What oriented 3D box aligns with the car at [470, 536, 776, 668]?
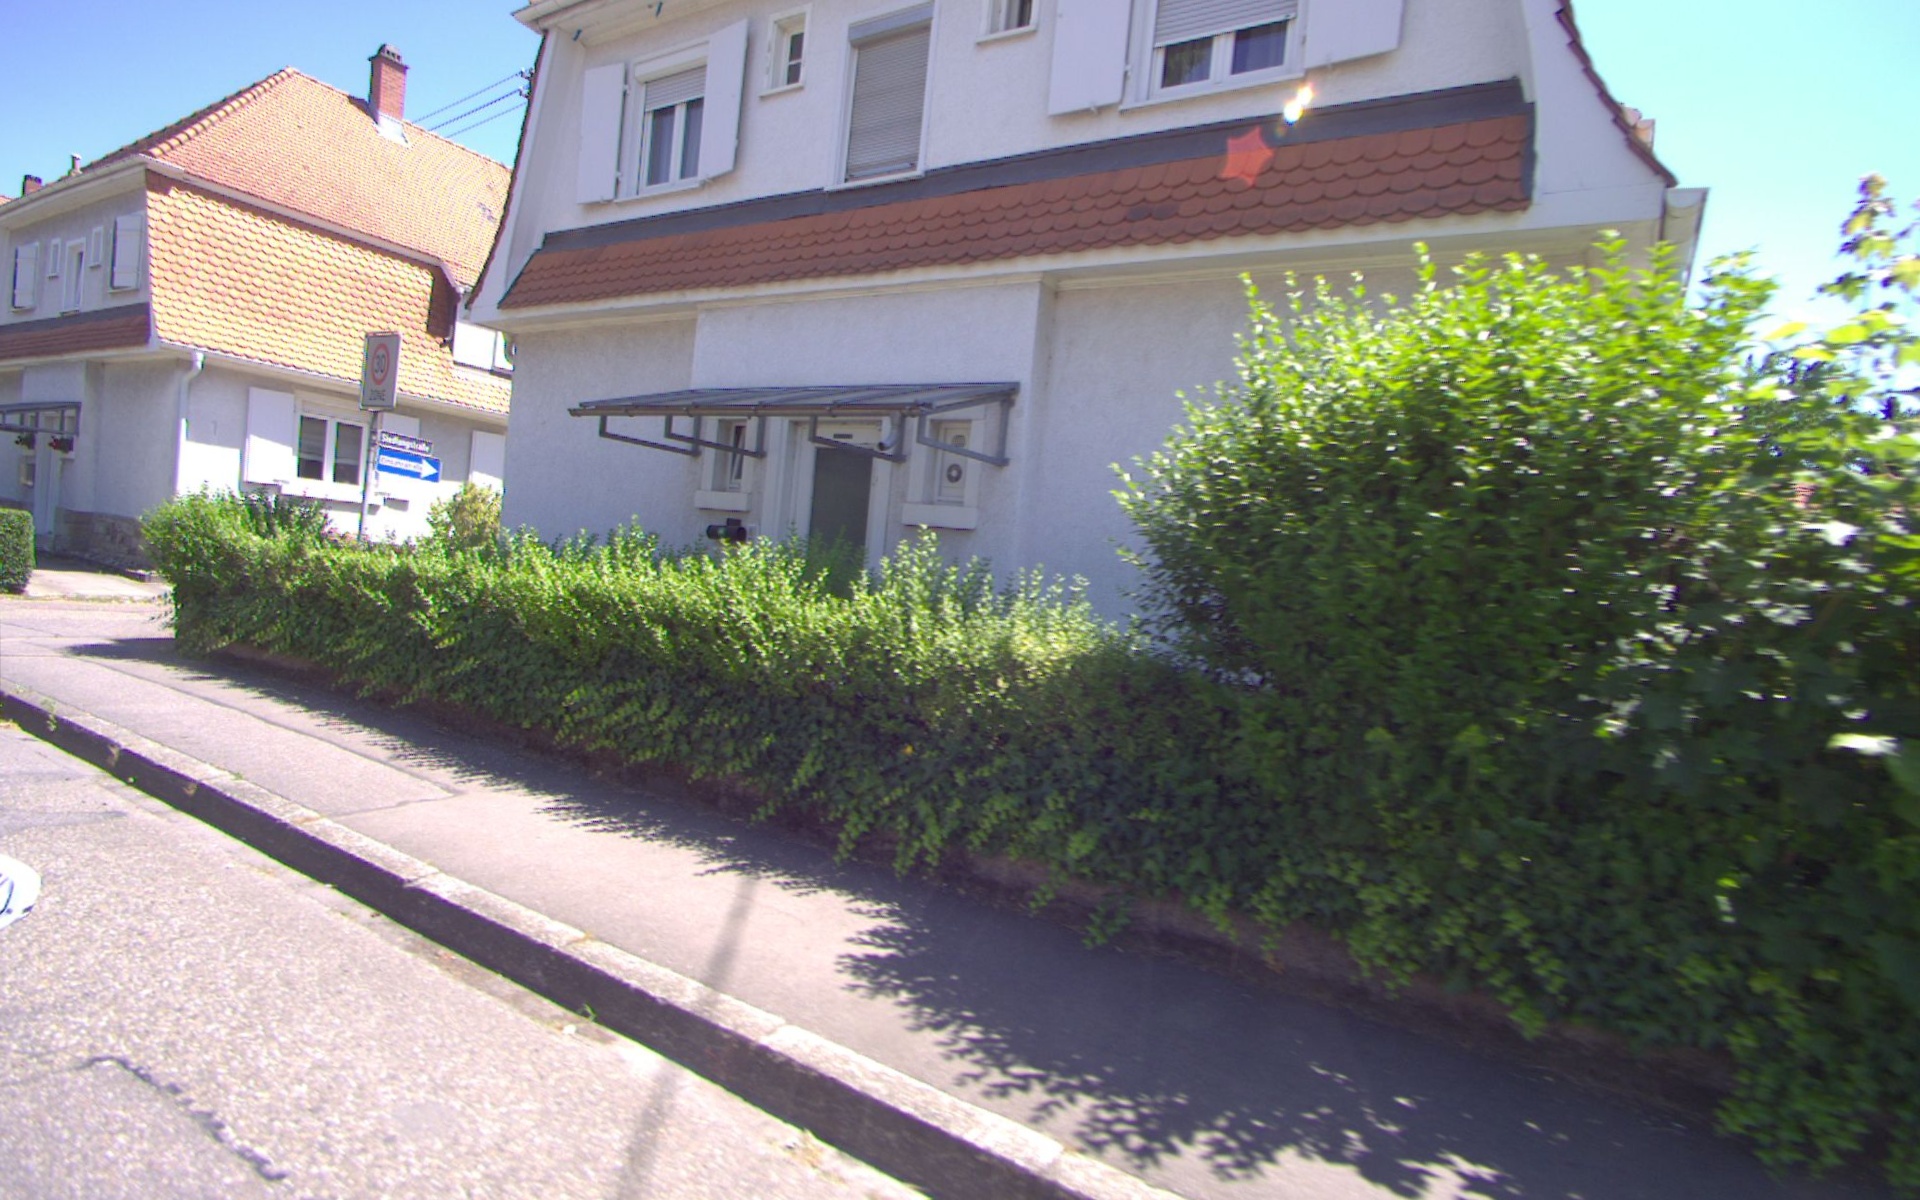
[{"bbox_3d":[-4.703,0.102,14.603,1.665,1.555,3.999,6,0,31],"label":"car"}]
